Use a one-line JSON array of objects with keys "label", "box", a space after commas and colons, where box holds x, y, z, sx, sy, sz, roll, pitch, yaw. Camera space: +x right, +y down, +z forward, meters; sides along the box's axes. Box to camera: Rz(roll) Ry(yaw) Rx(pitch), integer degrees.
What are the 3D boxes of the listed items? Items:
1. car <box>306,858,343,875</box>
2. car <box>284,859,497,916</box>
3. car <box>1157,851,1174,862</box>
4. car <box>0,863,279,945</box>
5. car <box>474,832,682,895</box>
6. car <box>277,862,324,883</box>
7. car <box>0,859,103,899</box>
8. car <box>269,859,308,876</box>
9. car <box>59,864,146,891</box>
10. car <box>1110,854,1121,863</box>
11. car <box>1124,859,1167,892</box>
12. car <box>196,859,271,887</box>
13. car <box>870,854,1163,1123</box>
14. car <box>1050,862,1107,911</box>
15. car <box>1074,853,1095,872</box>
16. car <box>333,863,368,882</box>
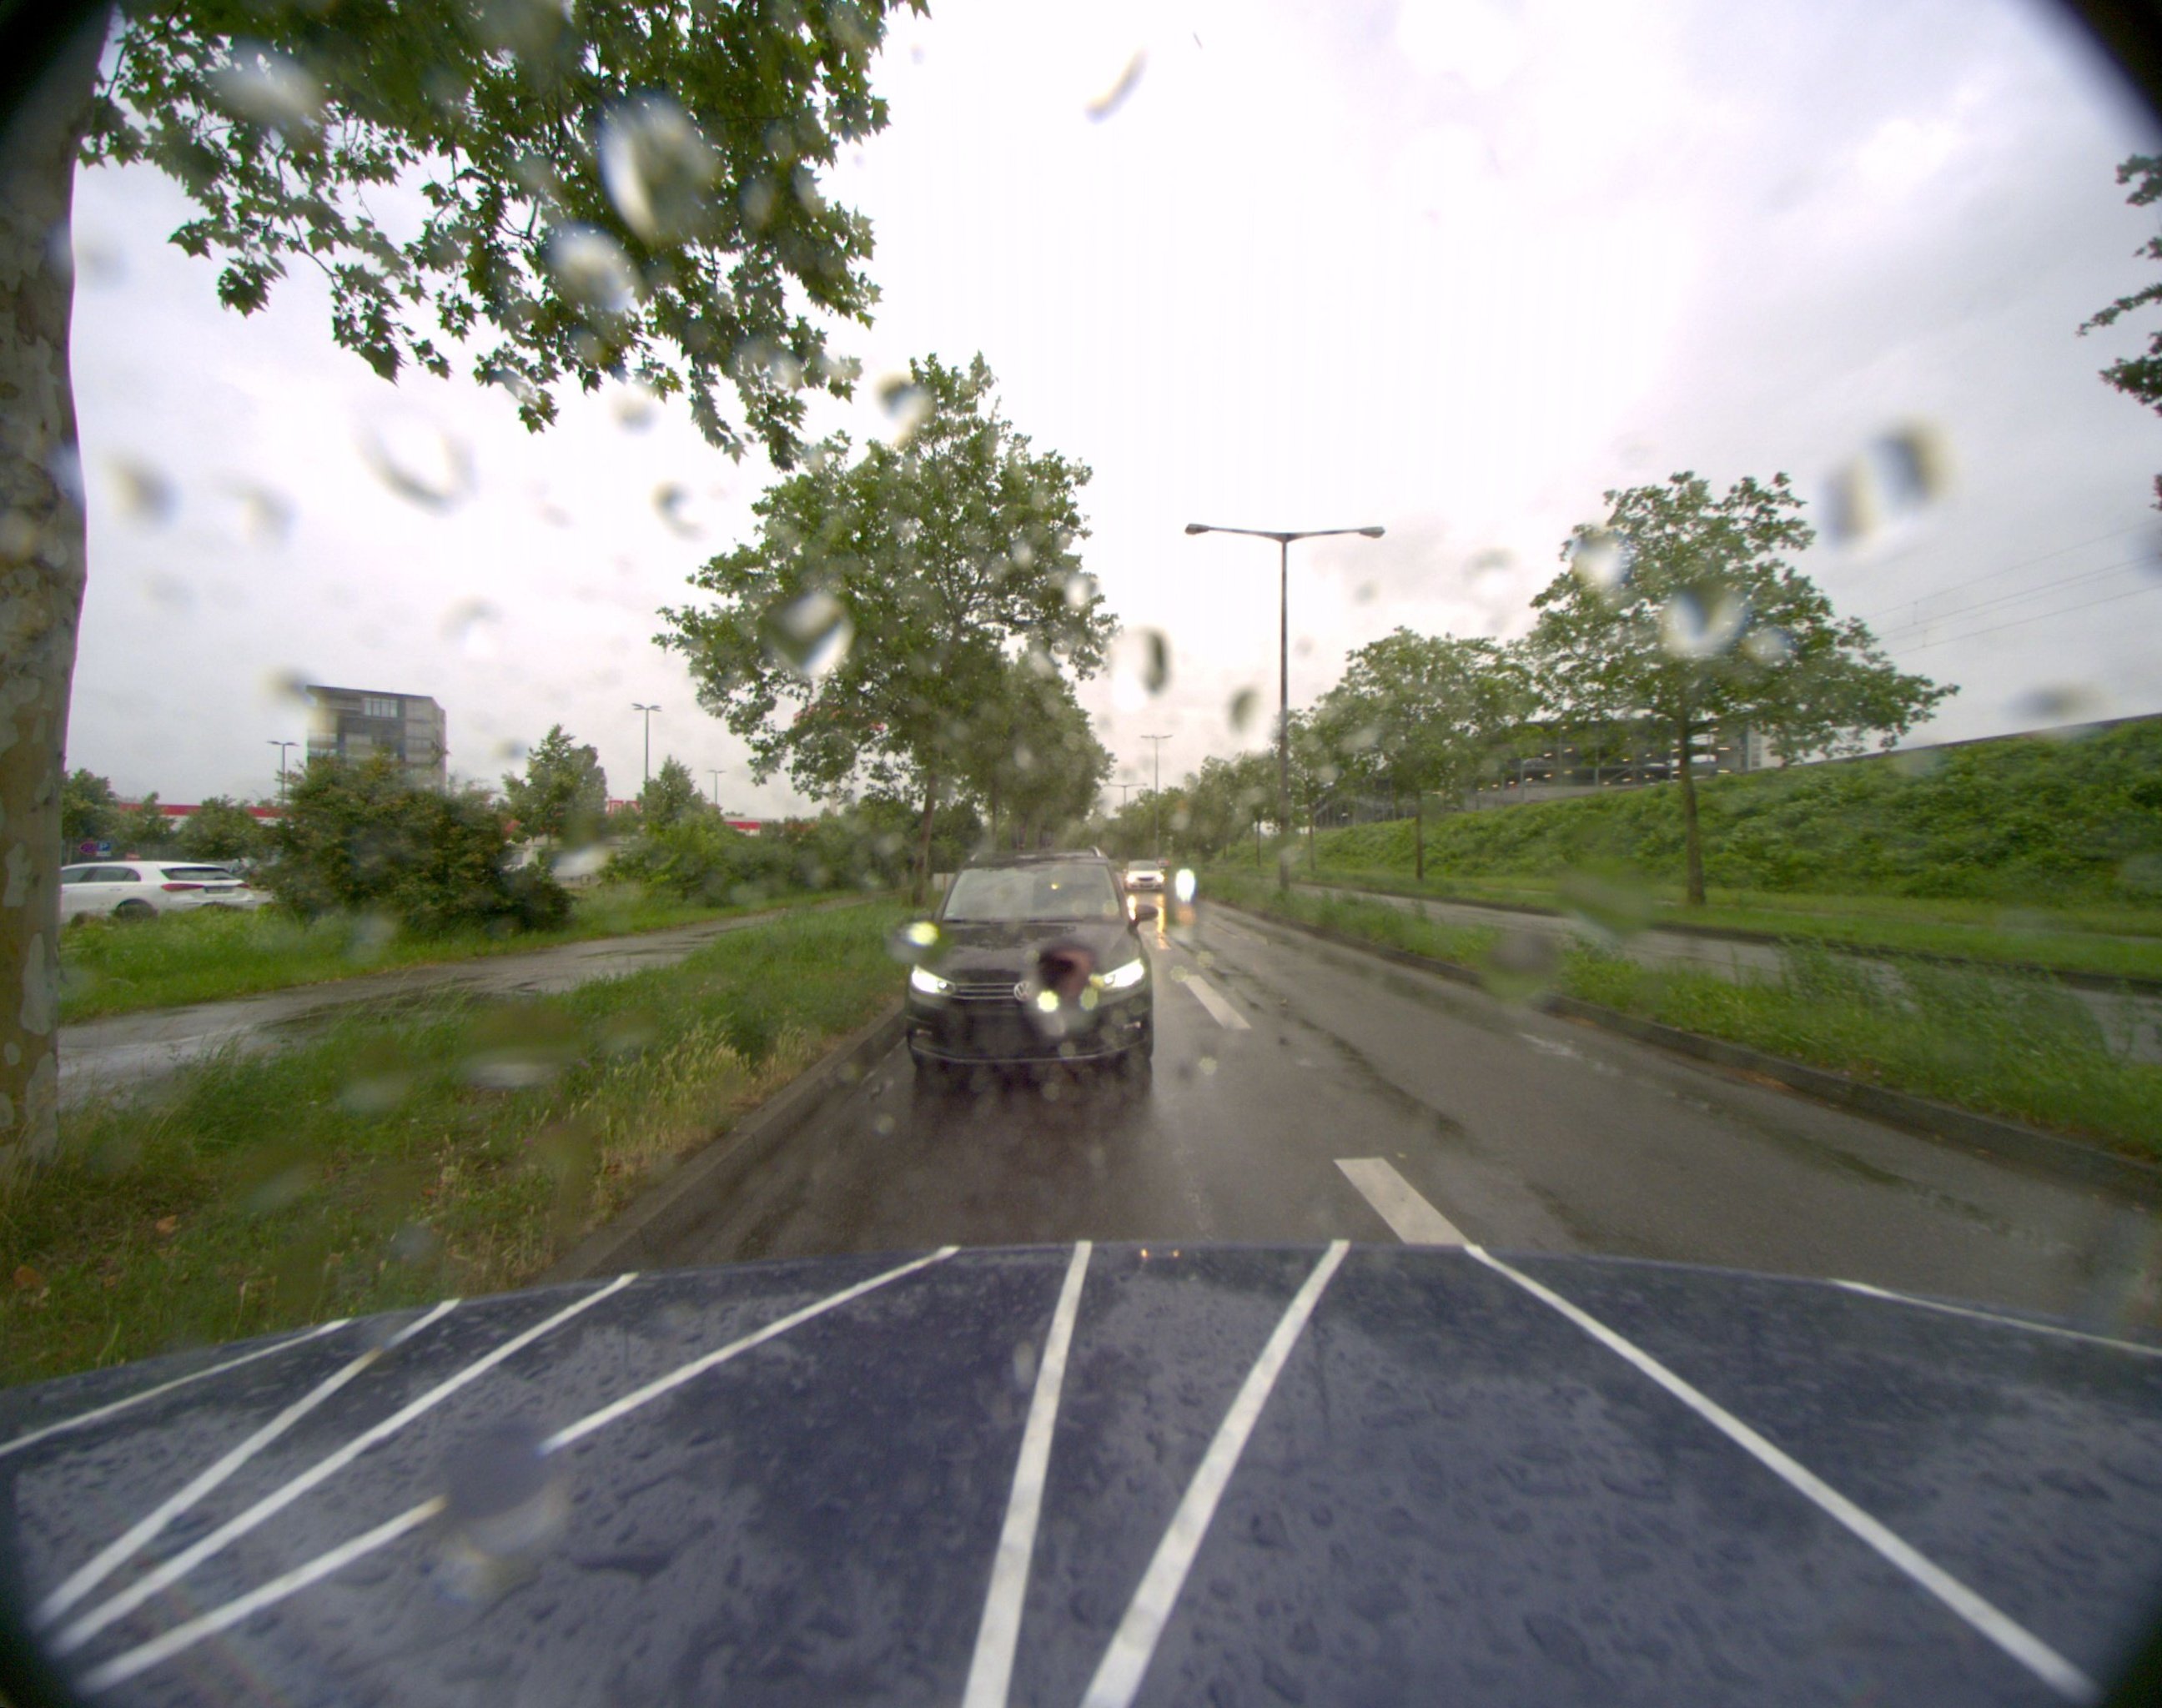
[{"label": "car", "box": [-78.486, 1.230, 78.859, 2.006, 1.667, 4.262, 0, 0, -35]}, {"label": "car", "box": [-19.957, 0.928, 22.132, 4.272, 1.543, 1.929, 0, 0, -4]}, {"label": "car", "box": [11.193, 0.287, 100.762, 1.724, 1.456, 4.092, 0, 0, 0]}, {"label": "car", "box": [-19.803, 0.970, 15.662, 4.272, 1.543, 1.929, 0, 0, -4]}, {"label": "car", "box": [-19.677, 0.365, 30.082, 6.425, 2.349, 2.390, 0, 0, -8]}, {"label": "car", "box": [-67.299, 1.597, 65.599, 2.006, 1.667, 4.262, 0, 0, -34]}, {"label": "car", "box": [-48.477, 1.156, 35.012, 3.787, 1.708, 1.687, -3, 1, -37]}, {"label": "car", "box": [-80.597, 1.329, 77.328, 2.006, 1.667, 4.262, 0, 0, -35]}, {"label": "car", "box": [-61.756, 1.435, 48.045, 1.933, 1.543, 4.263, 0, 0, -30]}, {"label": "car", "box": [6.250, 0.824, 136.873, 1.724, 1.456, 4.092, 0, 0, 0]}, {"label": "car", "box": [2.956, 0.958, 35.733, 1.683, 1.368, 4.011, -2, 0, 1]}, {"label": "car", "box": [-49.965, 1.091, 44.906, 1.933, 1.543, 4.262, 0, 0, -33]}, {"label": "car", "box": [-0.446, 0.842, 7.073, 1.771, 1.596, 4.626, -2, 0, -1]}, {"label": "car", "box": [-0.083, 1.042, 26.033, 1.724, 1.456, 4.092, -2, 0, 0]}, {"label": "car", "box": [0.310, 0.718, 65.796, 1.724, 1.456, 4.092, -2, 0, 1]}, {"label": "car", "box": [-67.733, 1.670, 70.469, 2.007, 1.667, 4.261, 0, 0, -40]}]
